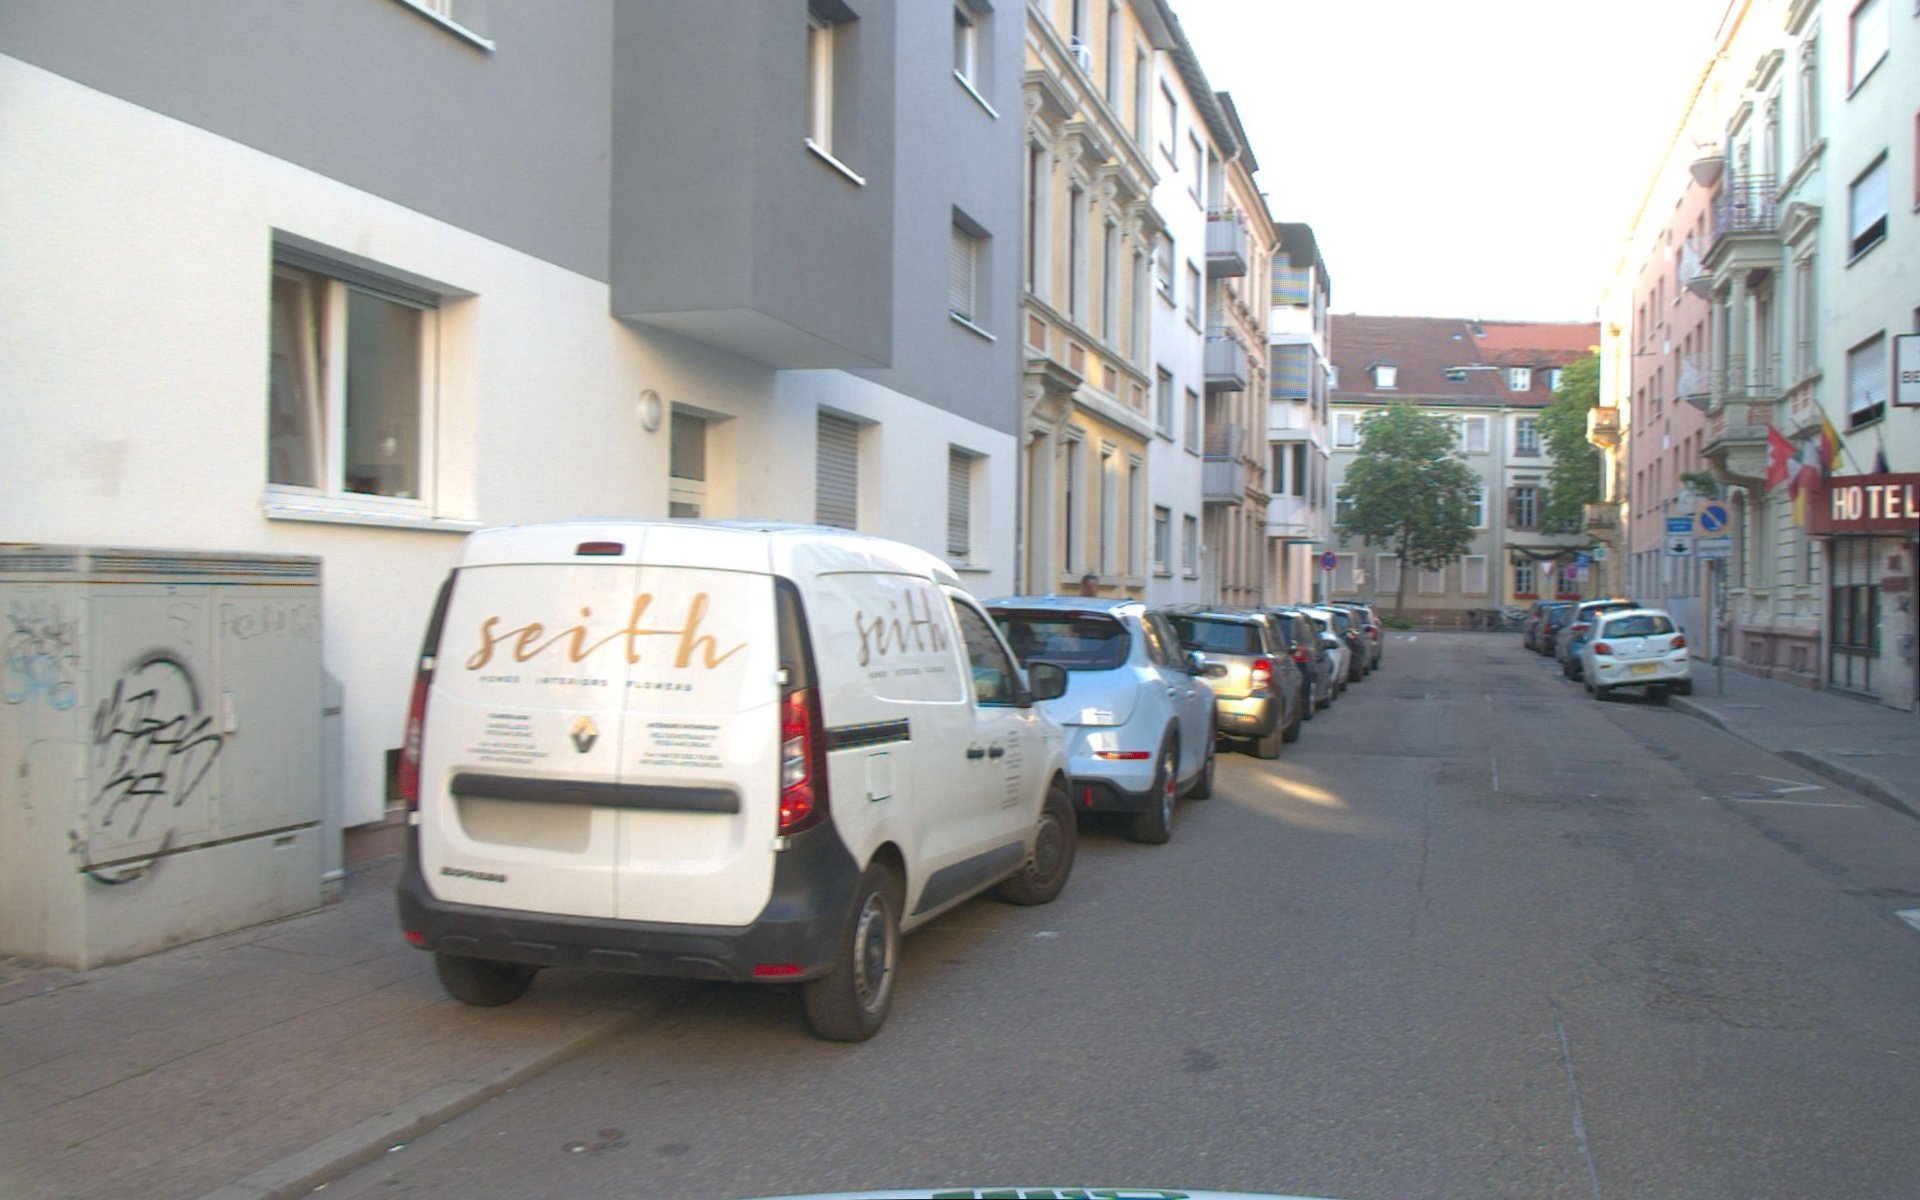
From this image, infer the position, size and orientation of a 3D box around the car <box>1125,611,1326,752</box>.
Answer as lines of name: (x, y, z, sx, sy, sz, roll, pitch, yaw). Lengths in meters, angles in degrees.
car: (3.063, 0.827, 18.447, 1.648, 1.355, 4.133, 1, -1, 17)

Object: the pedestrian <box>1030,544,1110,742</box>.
pedestrian: (1.174, 0.438, 17.573, 0.780, 2.049, 0.776, 0, 0, 7)

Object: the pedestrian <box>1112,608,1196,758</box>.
pedestrian: (1.900, 0.798, 16.276, 0.648, 1.435, 0.671, 1, 0, -10)

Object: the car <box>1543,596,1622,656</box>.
car: (19.004, 0.758, 50.608, 1.951, 1.738, 4.002, 0, 0, 16)

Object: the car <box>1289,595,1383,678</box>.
car: (7.928, 0.704, 34.656, 1.580, 1.598, 4.306, 1, 1, 17)

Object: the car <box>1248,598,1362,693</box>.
car: (6.084, 0.742, 28.892, 1.595, 1.498, 3.756, 1, 1, 17)

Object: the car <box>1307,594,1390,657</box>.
car: (10.990, 0.680, 46.626, 1.952, 1.691, 3.979, 0, 0, 18)

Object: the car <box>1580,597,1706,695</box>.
car: (12.168, 0.776, 29.639, 1.627, 1.484, 3.761, -6, -1, 17)

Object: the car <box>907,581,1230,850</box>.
car: (0.998, 0.675, 12.348, 1.726, 1.591, 4.370, 0, 1, 13)

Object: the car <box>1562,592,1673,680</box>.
car: (14.154, 0.730, 35.798, 1.952, 1.762, 4.061, 1, 0, 18)

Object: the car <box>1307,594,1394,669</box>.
car: (9.587, 0.720, 40.516, 1.951, 1.695, 4.413, 1, 0, 14)

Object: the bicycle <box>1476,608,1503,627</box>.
bicycle: (27.738, 0.936, 86.718, 0.509, 0.965, 1.718, 1, 0, -15)

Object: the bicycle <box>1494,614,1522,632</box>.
bicycle: (28.171, 1.178, 85.043, 0.509, 0.910, 1.718, 1, 0, -15)

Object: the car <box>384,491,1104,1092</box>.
car: (-0.566, 0.561, 7.307, 1.596, 1.845, 4.188, 1, 1, 16)

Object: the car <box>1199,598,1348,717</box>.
car: (4.635, 0.767, 24.075, 1.691, 1.535, 3.832, 1, 1, 17)

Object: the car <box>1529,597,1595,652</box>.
car: (20.309, 0.789, 55.934, 1.952, 1.792, 4.002, 0, 0, 18)
